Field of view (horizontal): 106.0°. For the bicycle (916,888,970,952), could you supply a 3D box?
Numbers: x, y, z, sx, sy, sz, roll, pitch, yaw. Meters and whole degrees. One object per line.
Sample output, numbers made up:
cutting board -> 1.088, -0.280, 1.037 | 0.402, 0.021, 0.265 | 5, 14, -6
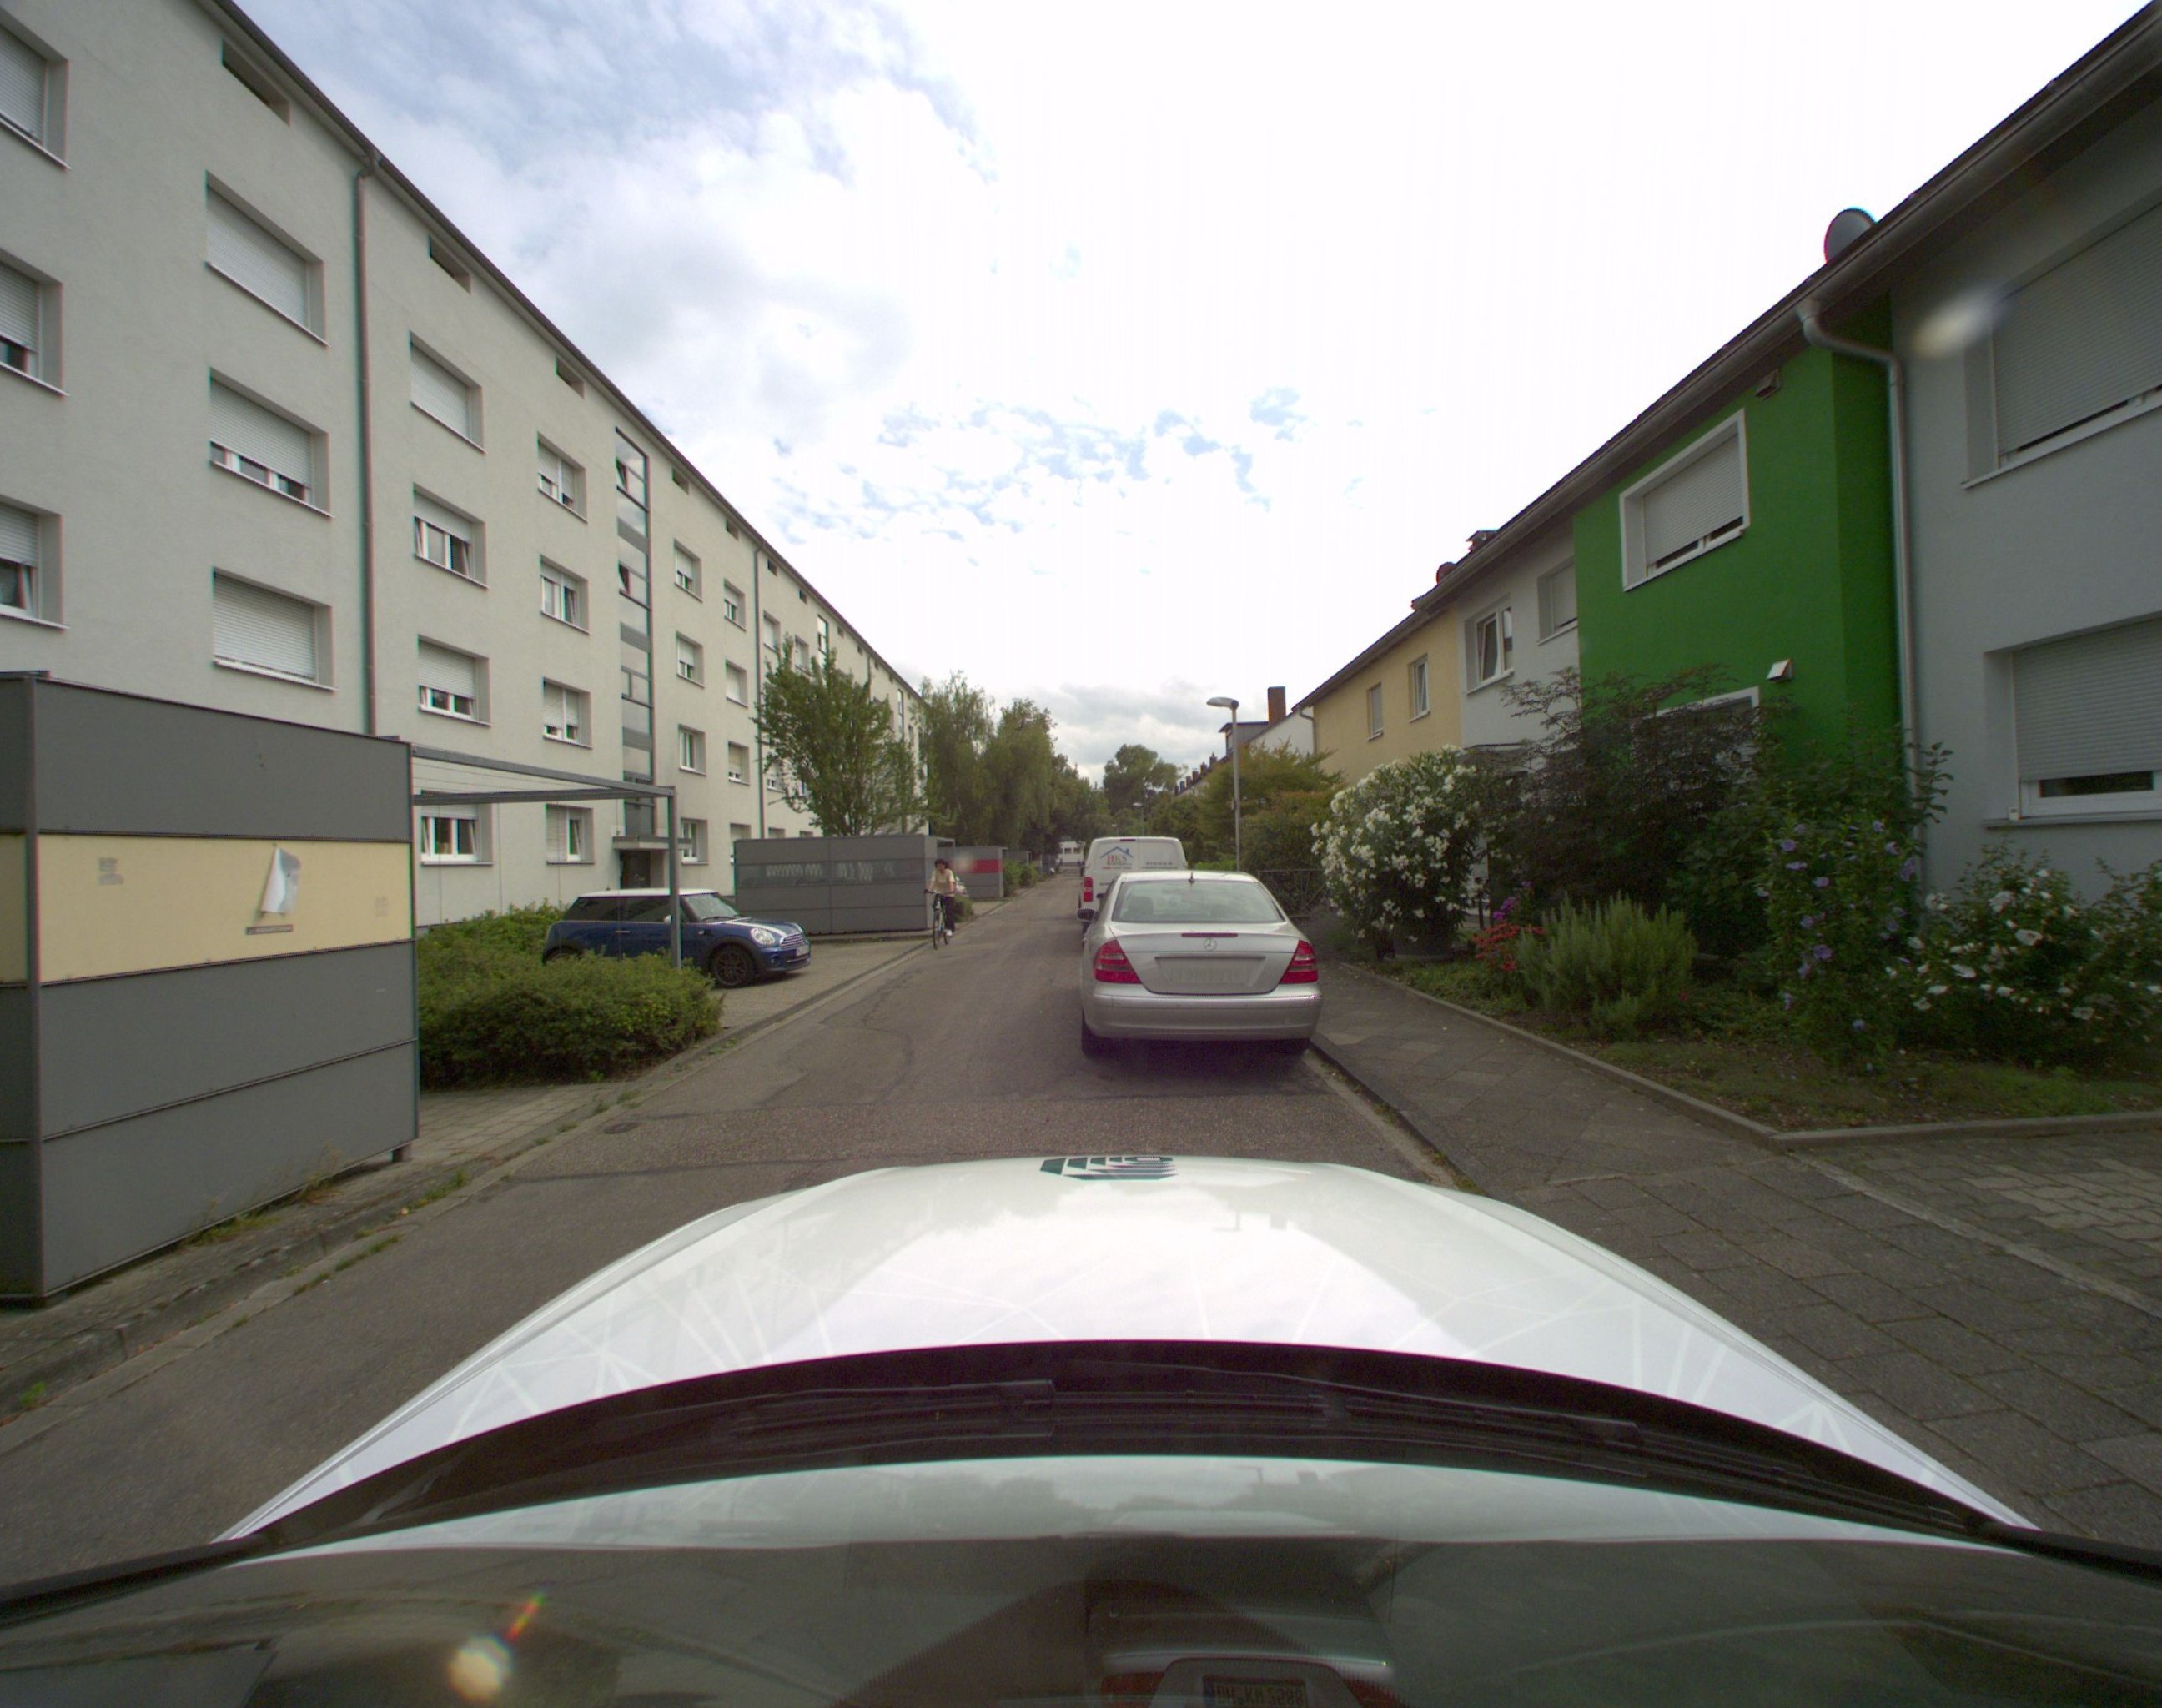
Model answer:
bicycle -> -2.680, 1.256, 16.006 | 0.595, 1.076, 2.043 | -3, -1, 2

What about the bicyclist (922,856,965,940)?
bicyclist -> -2.701, 0.845, 16.052 | 0.595, 1.581, 0.767 | -3, -1, 1

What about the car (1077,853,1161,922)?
car -> 0.903, 0.820, 21.585 | 1.820, 1.636, 4.158 | -1, -1, -3

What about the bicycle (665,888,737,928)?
bicycle -> -11.013, 1.554, 23.650 | 1.820, 1.024, 0.473 | -2, -1, -41

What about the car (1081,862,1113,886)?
car -> 0.965, 1.183, 49.254 | 1.819, 1.370, 4.331 | 0, 0, 1

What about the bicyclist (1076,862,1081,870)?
bicyclist -> -0.475, 2.115, 146.912 | 0.795, 1.511, 0.934 | 0, -1, 2

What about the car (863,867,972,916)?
car -> -5.763, 1.300, 29.029 | 3.555, 1.480, 1.708 | -3, 0, -5

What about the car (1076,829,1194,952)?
car -> 0.865, 0.615, 15.871 | 1.898, 1.964, 5.252 | -1, -1, 0

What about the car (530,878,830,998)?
car -> -5.905, 1.208, 12.256 | 3.619, 1.461, 1.654 | -3, -1, 3

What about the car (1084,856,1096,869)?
car -> 1.450, 1.277, 124.572 | 1.819, 1.883, 4.000 | 0, 0, 1

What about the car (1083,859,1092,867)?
car -> 1.286, 1.730, 165.527 | 1.819, 1.581, 4.000 | 0, 0, 1

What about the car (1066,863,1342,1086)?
car -> 0.872, 0.811, 7.543 | 1.777, 1.421, 4.457 | -1, -1, 2

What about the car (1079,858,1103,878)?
car -> 0.808, 1.137, 67.895 | 1.820, 1.581, 3.998 | 0, 0, -1

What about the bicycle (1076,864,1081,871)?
bicycle -> -0.470, 2.434, 146.887 | 0.686, 1.131, 2.580 | 0, -1, 2
